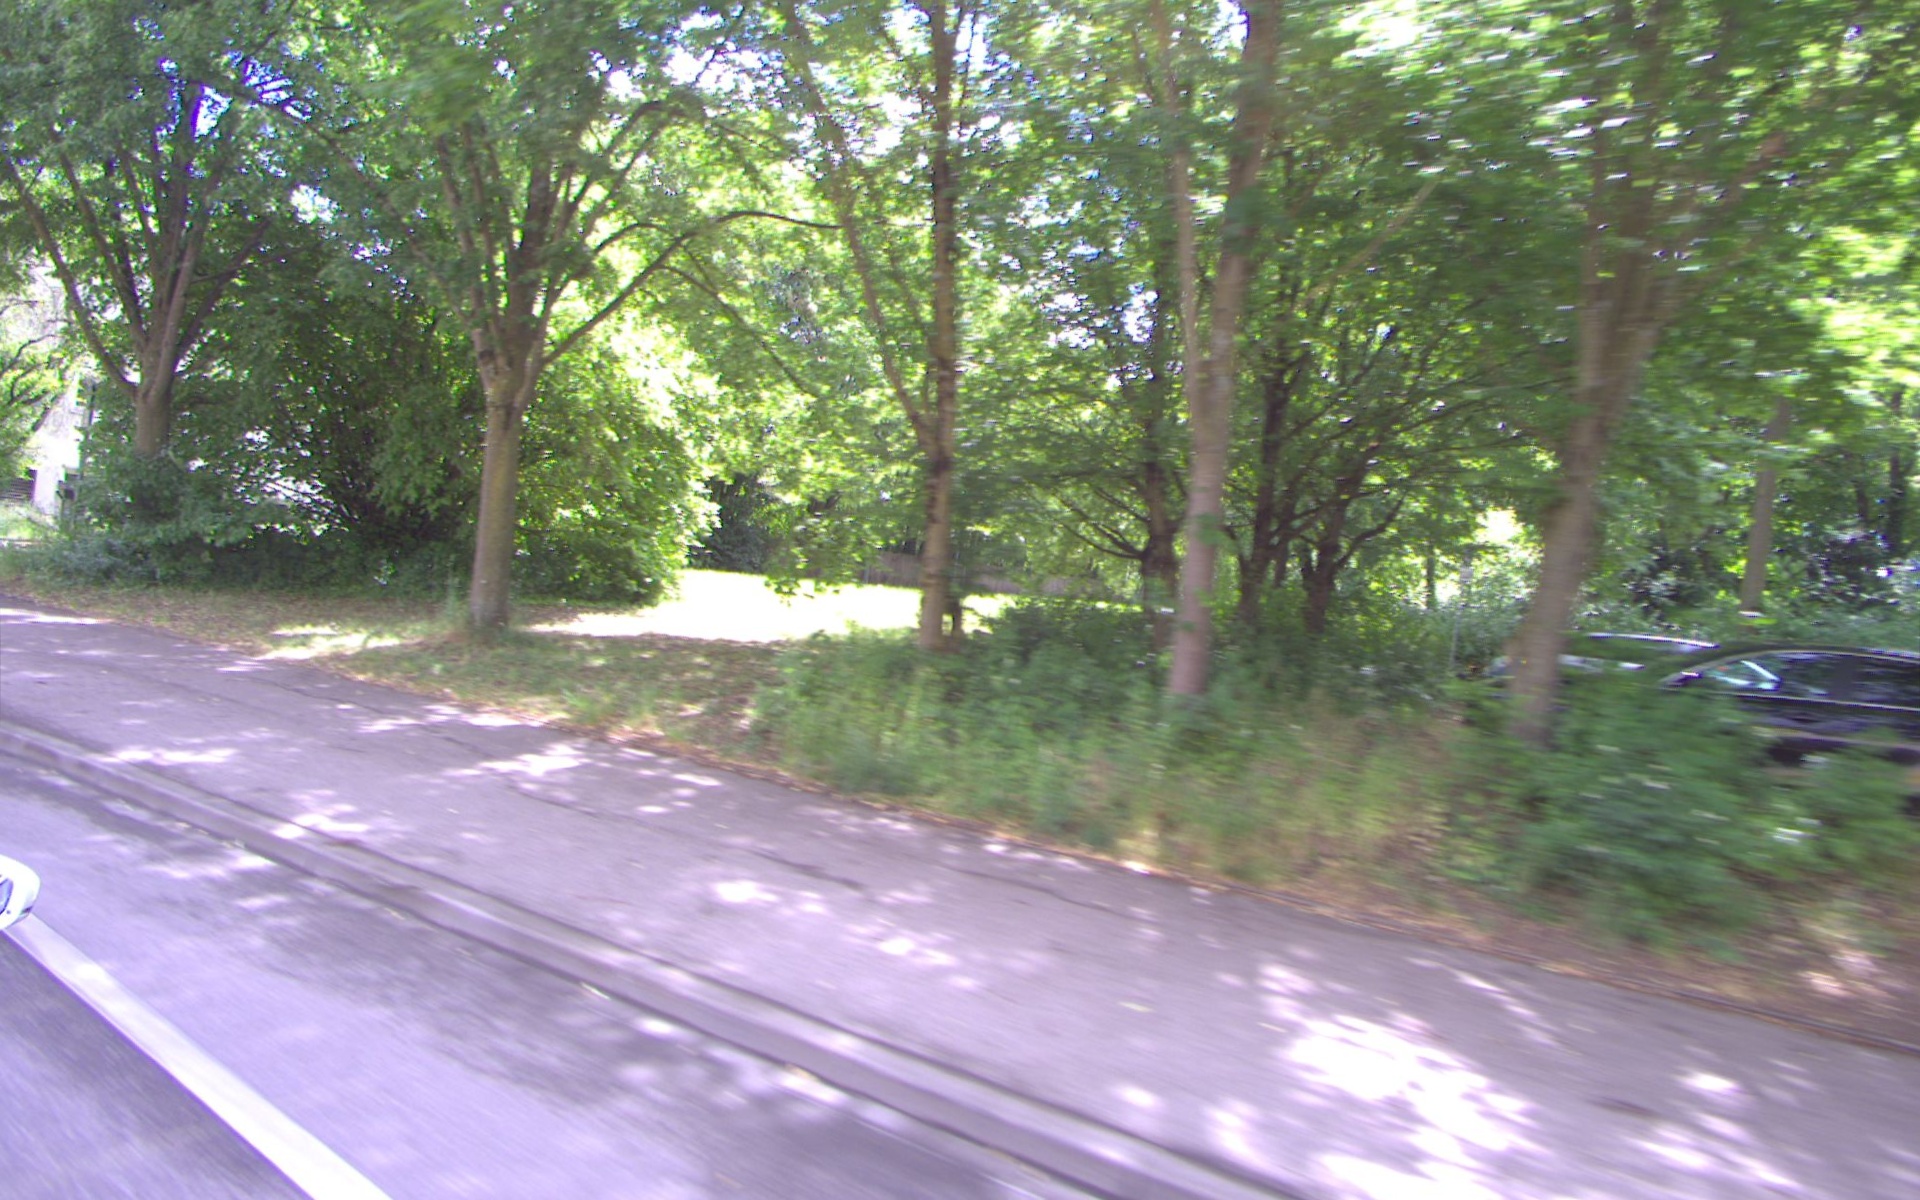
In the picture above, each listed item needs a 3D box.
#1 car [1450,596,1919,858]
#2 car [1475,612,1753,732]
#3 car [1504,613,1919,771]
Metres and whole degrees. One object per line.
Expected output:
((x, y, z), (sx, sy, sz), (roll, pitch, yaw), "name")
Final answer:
((6.366, 0.965, 8.182), (4.088, 1.528, 1.716), (7, 2, 28), "car")
((11.412, 1.194, 17.849), (3.829, 1.528, 1.651), (7, 3, 31), "car")
((10.902, 1.227, 14.925), (4.797, 1.528, 1.994), (7, 2, 31), "car")
